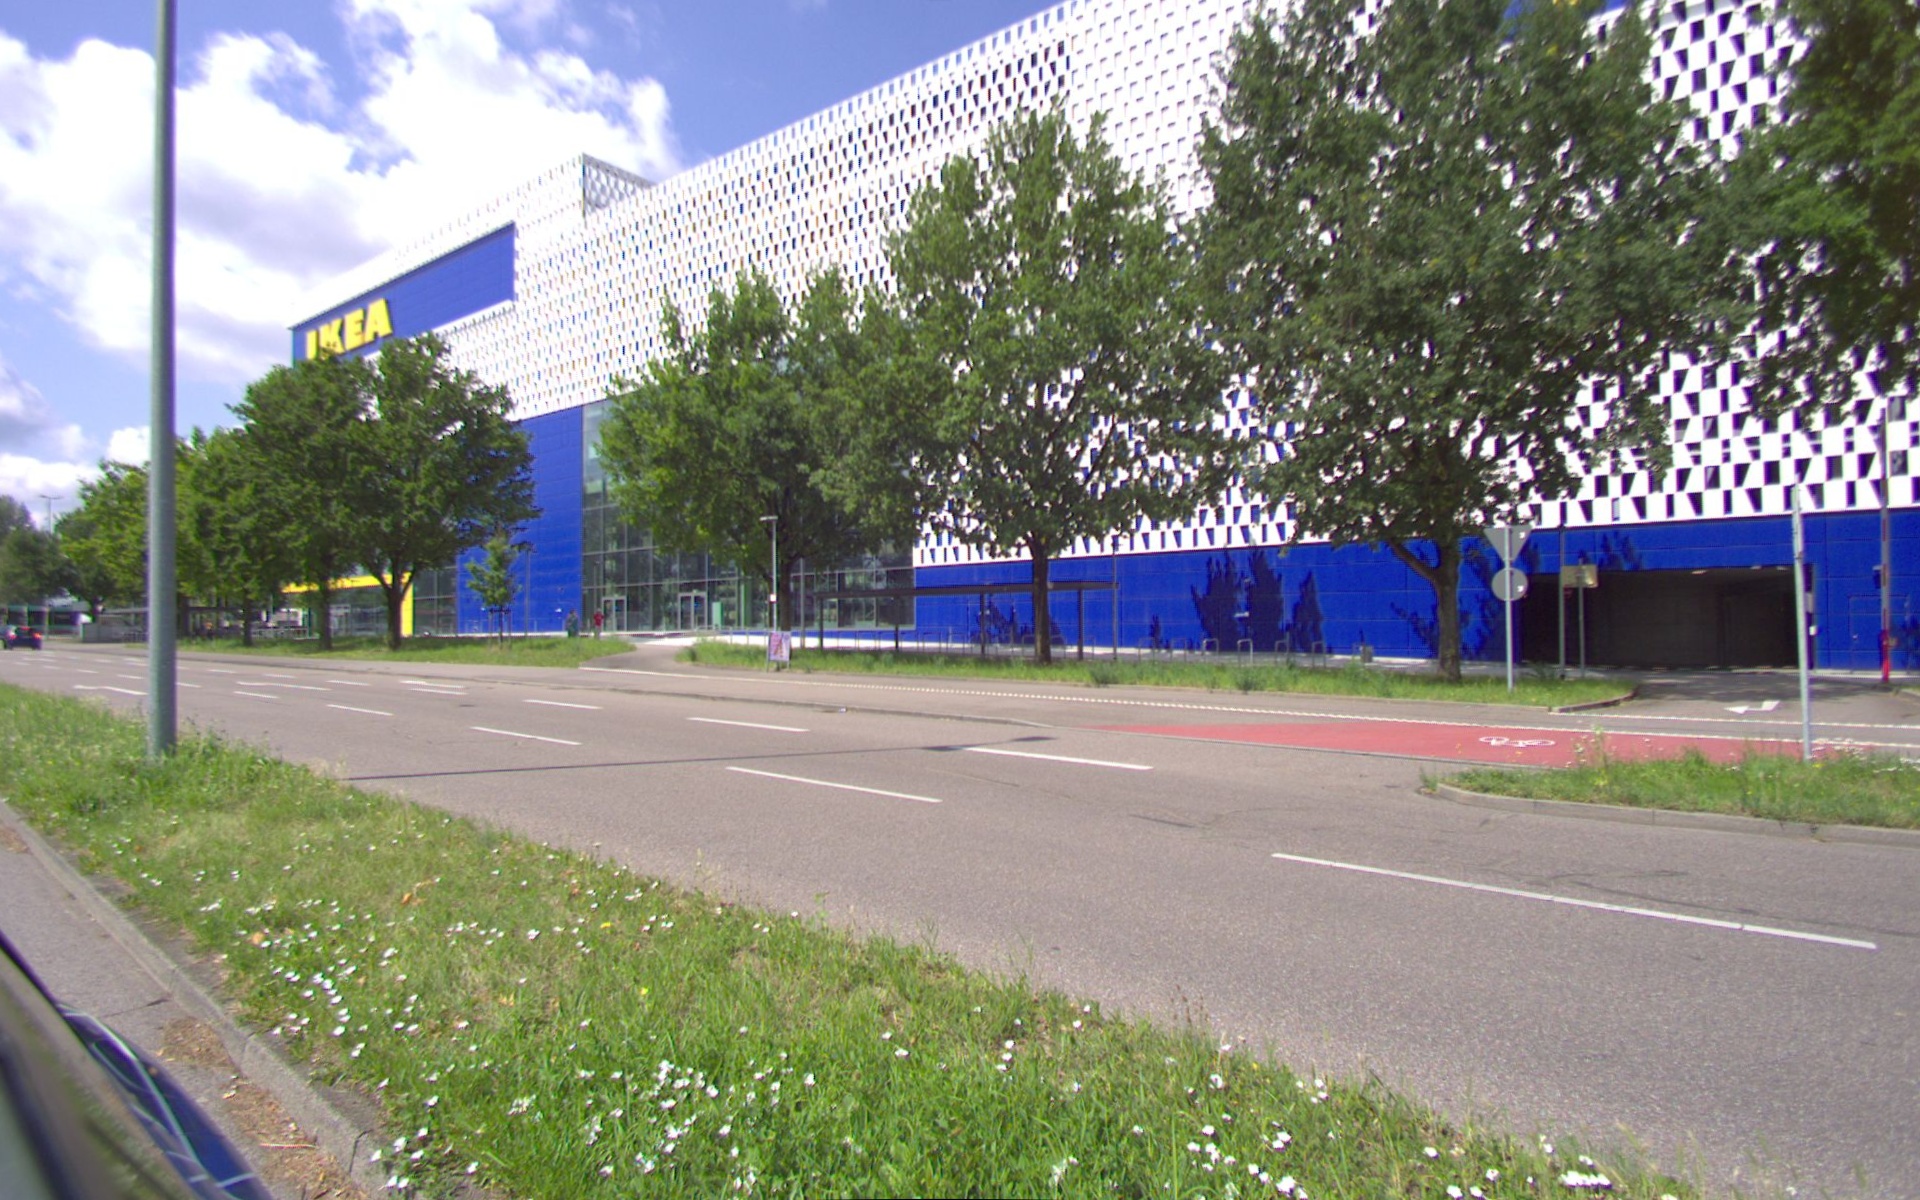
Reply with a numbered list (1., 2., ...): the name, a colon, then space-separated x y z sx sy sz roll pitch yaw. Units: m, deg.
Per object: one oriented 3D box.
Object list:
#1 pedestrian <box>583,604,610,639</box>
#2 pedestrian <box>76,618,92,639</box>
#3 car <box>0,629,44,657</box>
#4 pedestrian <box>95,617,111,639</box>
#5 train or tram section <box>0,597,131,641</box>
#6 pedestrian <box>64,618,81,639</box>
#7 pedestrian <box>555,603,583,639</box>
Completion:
1. pedestrian: -18.255 1.076 50.852 1.165 1.741 0.842 -1 0 43
2. pedestrian: -88.042 2.845 101.737 0.807 2.110 1.041 -1 0 -8
3. car: -62.577 2.811 67.389 3.998 1.696 1.916 -1 0 41
4. pedestrian: -86.841 2.830 102.588 0.807 2.110 1.041 -1 0 -8
5. train or tram section: -103.993 2.101 116.297 3.727 4.708 12.938 -1 0 38
6. pedestrian: -89.019 2.858 101.514 0.807 2.110 1.041 -1 0 -8
7. pedestrian: -19.301 1.031 49.937 1.165 1.741 0.842 -1 0 43
